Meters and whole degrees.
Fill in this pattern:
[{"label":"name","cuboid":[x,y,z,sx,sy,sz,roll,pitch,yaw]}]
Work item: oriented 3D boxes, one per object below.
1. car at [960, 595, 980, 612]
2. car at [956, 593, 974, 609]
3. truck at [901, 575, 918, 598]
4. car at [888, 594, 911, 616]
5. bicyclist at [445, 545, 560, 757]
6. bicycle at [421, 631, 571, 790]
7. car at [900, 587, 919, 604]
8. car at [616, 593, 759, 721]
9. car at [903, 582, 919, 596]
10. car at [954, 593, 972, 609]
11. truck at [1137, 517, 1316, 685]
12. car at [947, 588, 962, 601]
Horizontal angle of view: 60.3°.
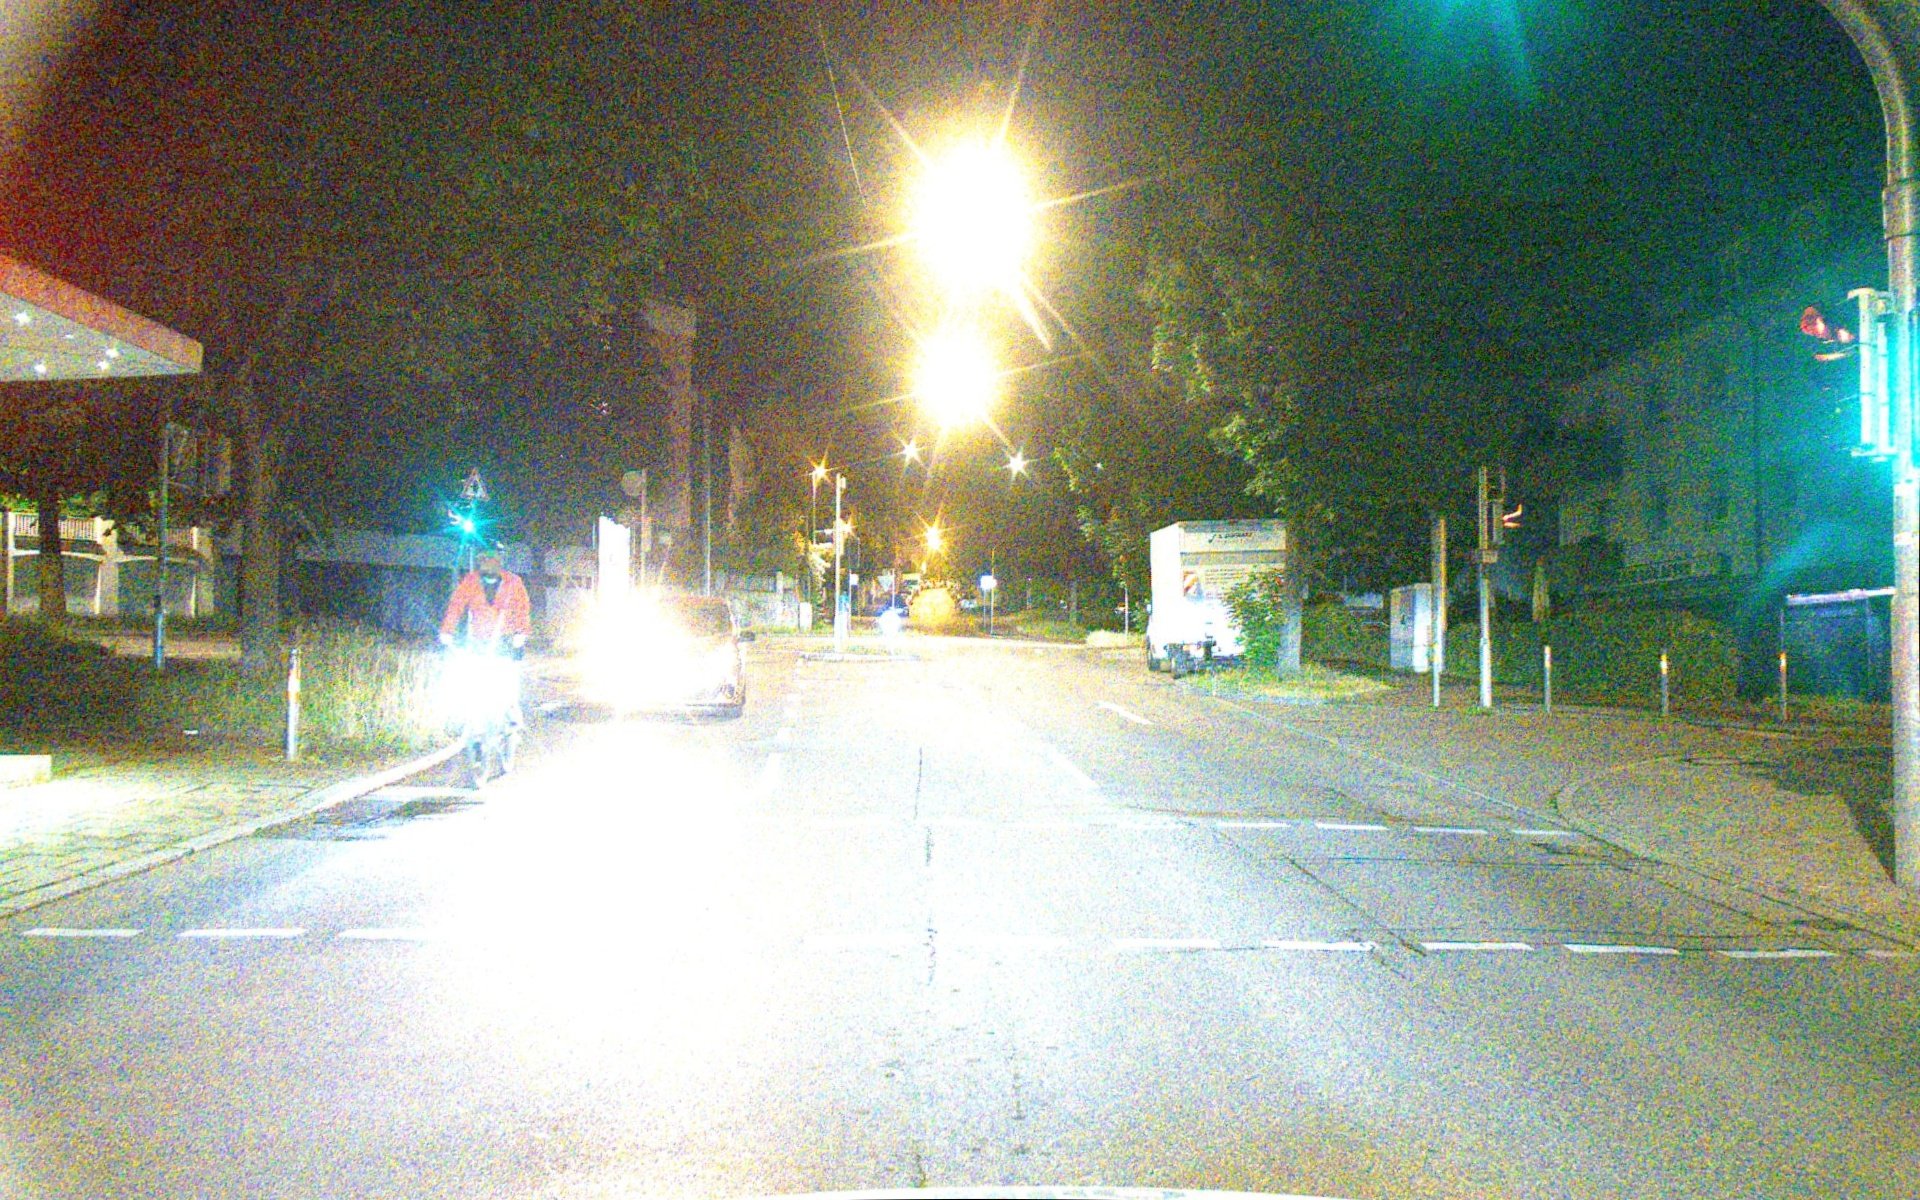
[{"label":"car","cuboid":[0.881,0.295,143.369,1.601,1.477,3.484,1,0,-1]},{"label":"car","cuboid":[0.419,0.068,153.098,1.601,1.477,3.484,1,0,-1]},{"label":"truck","cuboid":[-6.430,-1.700,209.508,2.044,2.897,5.828,1,0,-2]},{"label":"car","cuboid":[-4.894,0.372,134.366,1.778,1.713,3.999,1,0,-1]},{"label":"bicyclist","cuboid":[-3.723,0.405,13.508,0.676,1.666,0.896,1,-1,-1]},{"label":"bicycle","cuboid":[-3.735,0.853,13.471,0.682,1.169,1.950,1,0,-1]},{"label":"car","cuboid":[-4.874,-0.432,160.500,1.779,1.517,3.998,1,0,-2]},{"label":"car","cuboid":[-3.491,0.685,21.682,1.550,1.528,3.393,1,0,-5]},{"label":"car","cuboid":[-5.528,-1.199,186.884,1.779,1.517,3.998,1,0,-2]},{"label":"car","cuboid":[0.264,0.104,159.280,1.601,1.477,3.484,1,0,-1]},{"label":"truck","cuboid":[5.424,0.013,34.702,2.693,3.165,6.257,1,0,0]},{"label":"car","cuboid":[-0.650,-0.598,191.482,1.601,1.477,3.484,1,0,-1]}]
